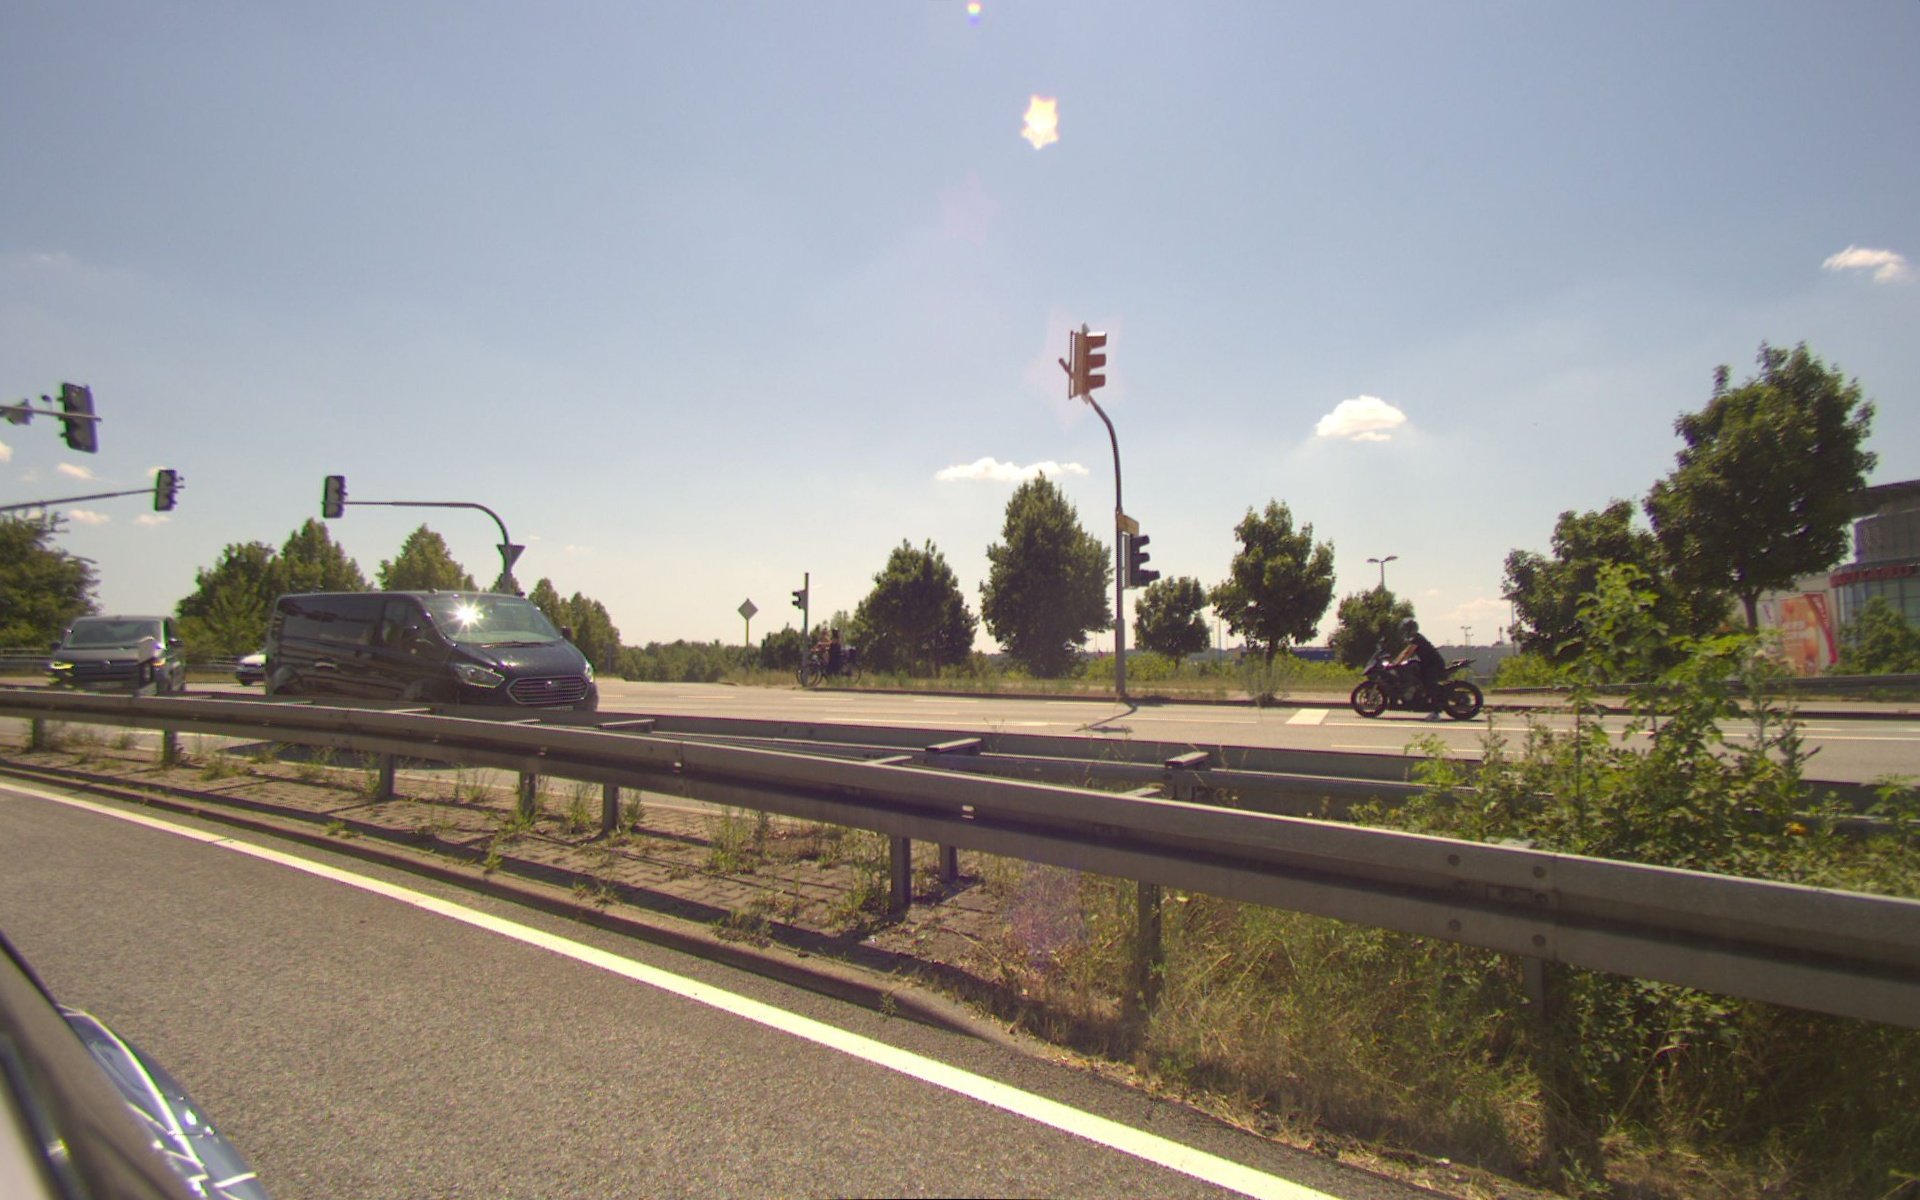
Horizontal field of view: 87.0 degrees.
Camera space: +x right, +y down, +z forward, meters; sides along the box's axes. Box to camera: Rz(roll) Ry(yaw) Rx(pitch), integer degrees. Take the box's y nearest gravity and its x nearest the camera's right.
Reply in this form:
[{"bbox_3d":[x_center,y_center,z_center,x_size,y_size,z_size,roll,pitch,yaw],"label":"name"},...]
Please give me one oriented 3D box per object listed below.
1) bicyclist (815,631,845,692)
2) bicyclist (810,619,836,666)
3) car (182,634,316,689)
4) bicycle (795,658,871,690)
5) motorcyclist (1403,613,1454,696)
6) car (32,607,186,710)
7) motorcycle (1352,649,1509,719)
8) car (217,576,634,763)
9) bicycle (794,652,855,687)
[{"bbox_3d":[-3.743,1.758,29.075,0.723,1.731,0.529,-1,-2,13],"label":"bicyclist"},{"bbox_3d":[-4.143,1.275,30.725,0.678,1.415,0.406,0,-2,14],"label":"bicyclist"},{"bbox_3d":[-21.502,1.861,30.810,1.659,1.536,4.007,2,-3,-8],"label":"car"},{"bbox_3d":[-3.651,2.118,29.051,2.106,0.859,0.533,-1,-2,13],"label":"bicycle"},{"bbox_3d":[7.662,0.902,16.577,0.719,1.313,0.671,-1,-5,25],"label":"motorcyclist"},{"bbox_3d":[-17.746,1.248,21.336,1.912,1.934,4.544,4,-5,-34],"label":"car"},{"bbox_3d":[7.651,1.357,16.547,2.271,1.088,0.559,-1,-4,25],"label":"motorcycle"},{"bbox_3d":[-6.878,0.844,12.878,5.389,1.952,2.104,-2,-4,30],"label":"car"},{"bbox_3d":[-4.107,2.089,30.696,1.814,1.032,0.413,-1,-2,14],"label":"bicycle"}]
